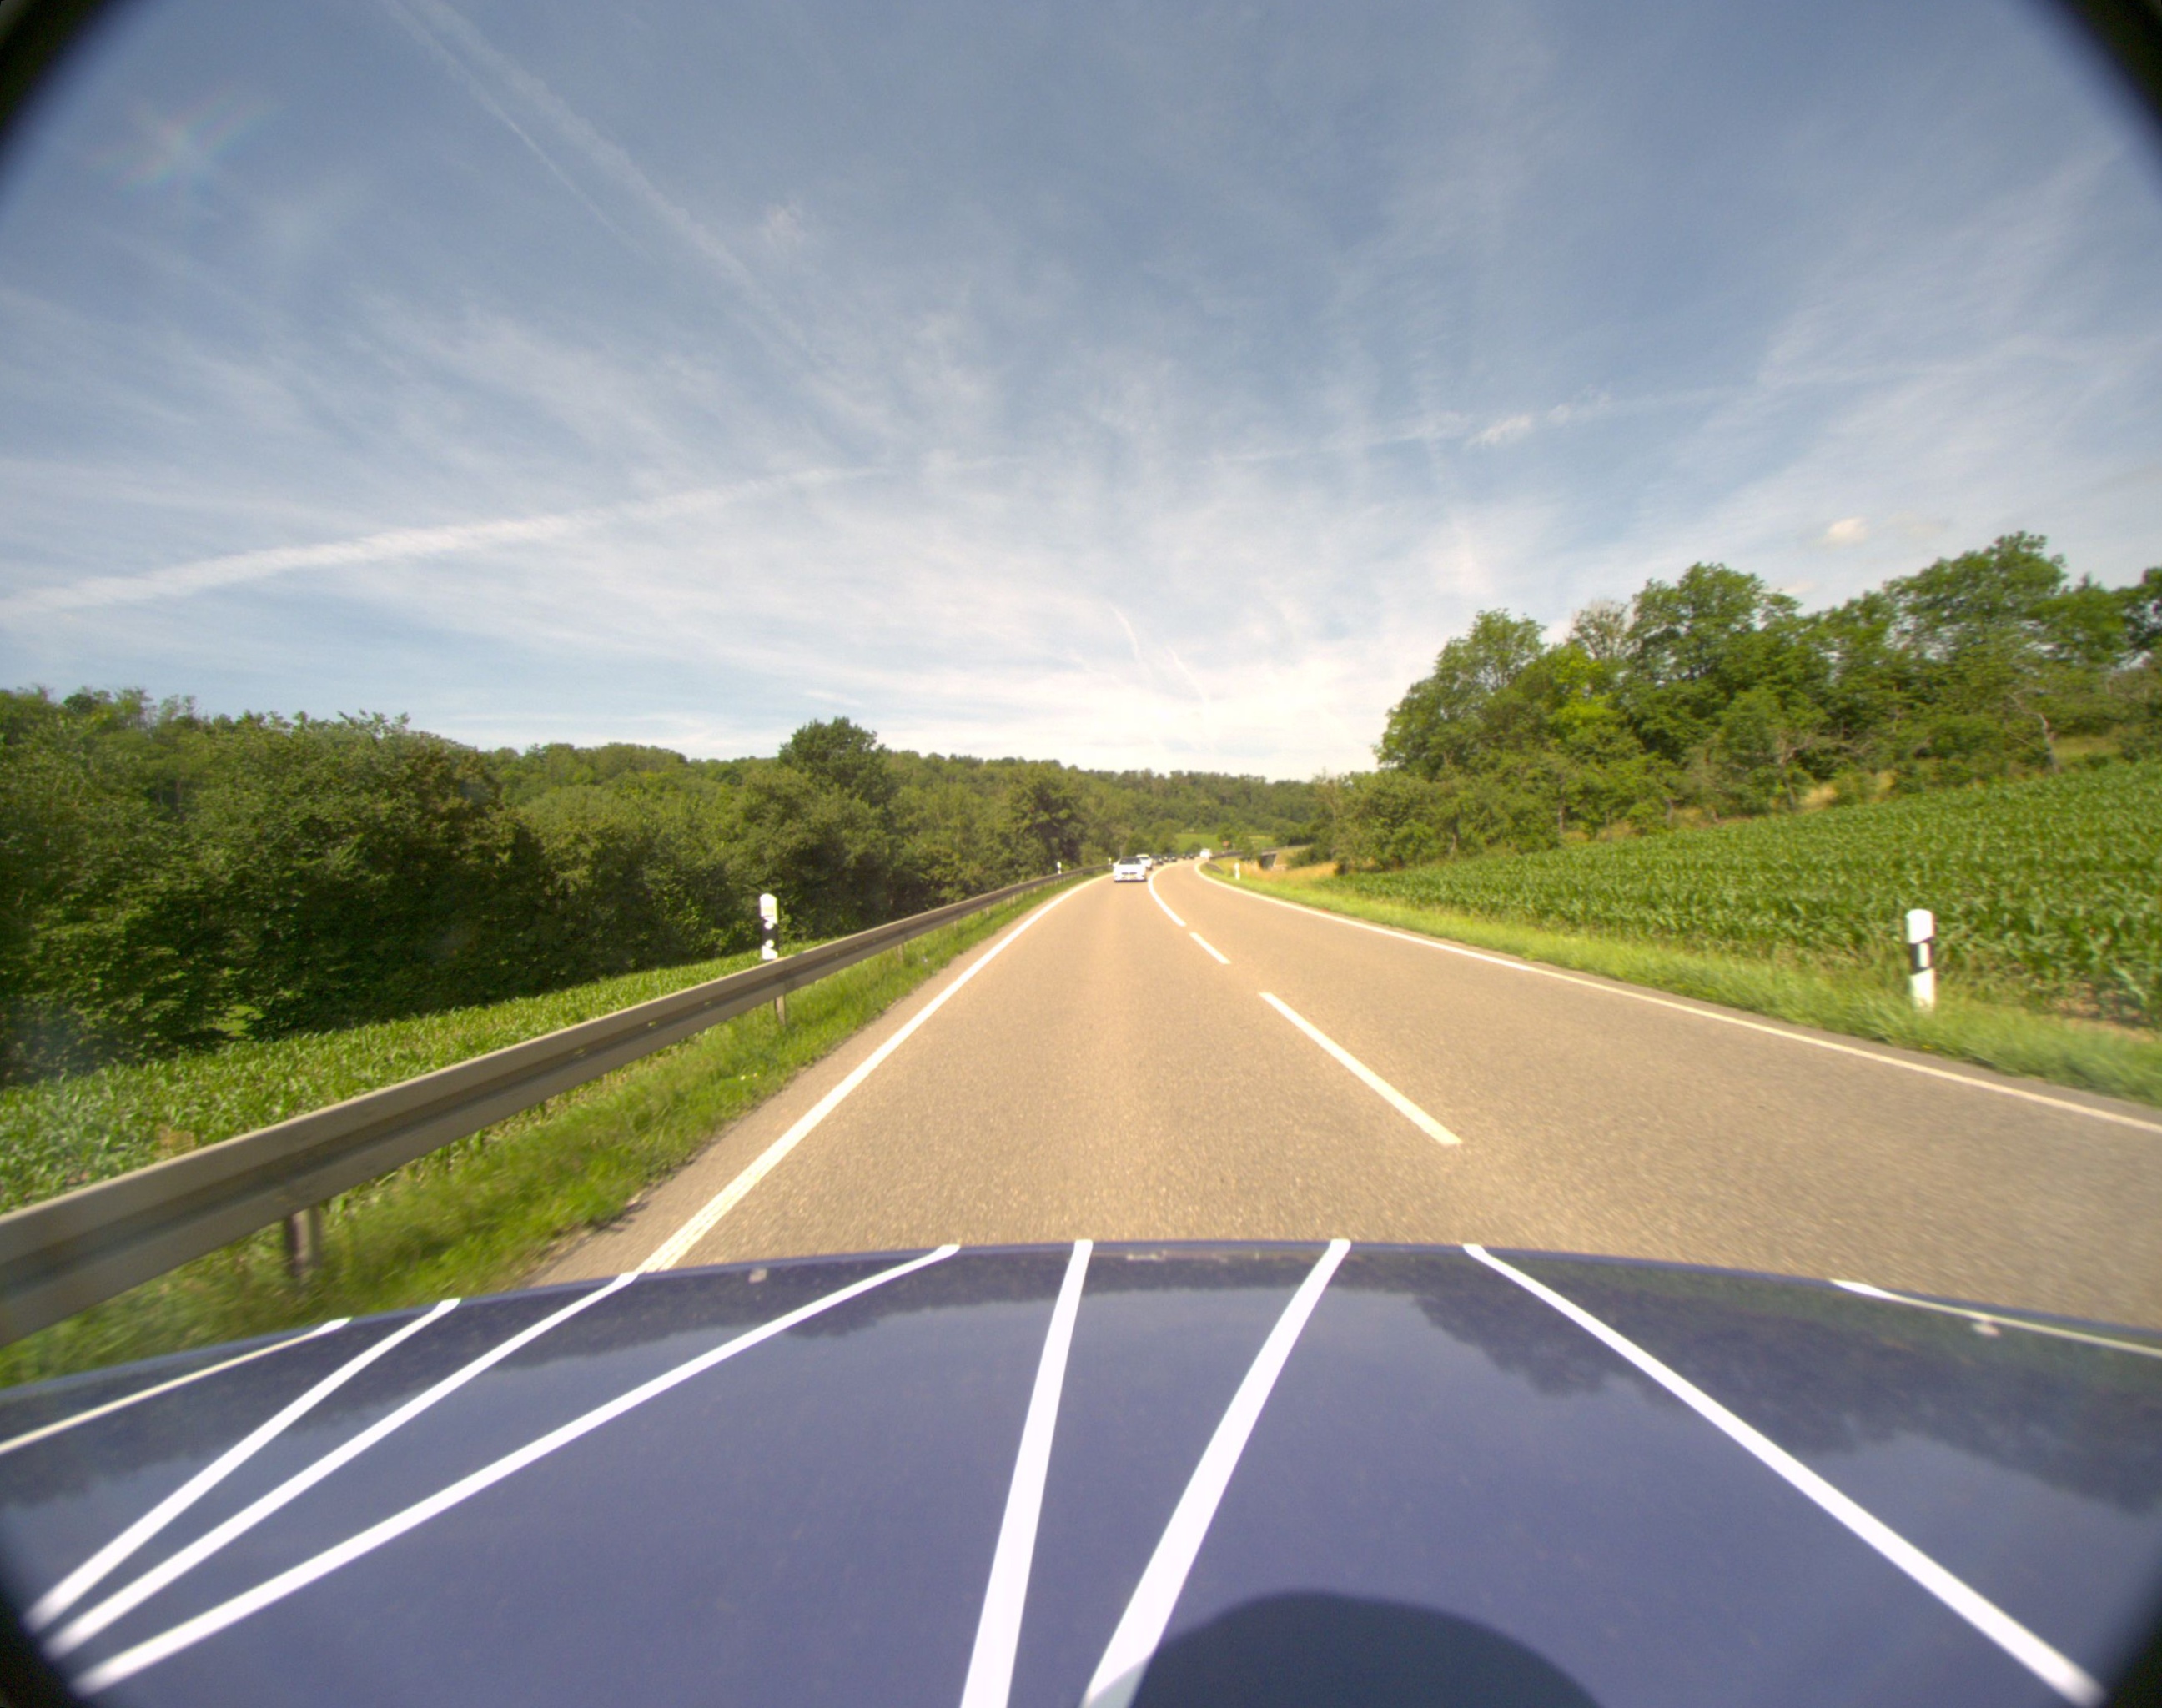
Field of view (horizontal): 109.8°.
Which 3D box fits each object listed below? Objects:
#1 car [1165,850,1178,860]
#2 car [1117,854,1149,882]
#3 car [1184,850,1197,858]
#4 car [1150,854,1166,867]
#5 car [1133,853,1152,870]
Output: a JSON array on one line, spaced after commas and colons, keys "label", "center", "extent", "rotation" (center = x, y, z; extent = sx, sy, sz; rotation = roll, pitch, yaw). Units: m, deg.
[{"label": "car", "center": [14.560, 0.128, 122.278], "extent": [1.741, 1.445, 4.039], "rotation": [-2, 1, 12]}, {"label": "car", "center": [3.048, 0.792, 44.884], "extent": [1.742, 1.445, 4.036], "rotation": [-2, 1, 3]}, {"label": "car", "center": [22.000, -0.023, 152.664], "extent": [1.740, 1.445, 4.041], "rotation": [-1, 1, 20]}, {"label": "car", "center": [10.194, 0.846, 100.191], "extent": [1.741, 1.445, 4.039], "rotation": [-2, 1, 11]}, {"label": "car", "center": [6.037, 0.699, 74.308], "extent": [1.717, 1.523, 4.001], "rotation": [-2, 1, 5]}]
